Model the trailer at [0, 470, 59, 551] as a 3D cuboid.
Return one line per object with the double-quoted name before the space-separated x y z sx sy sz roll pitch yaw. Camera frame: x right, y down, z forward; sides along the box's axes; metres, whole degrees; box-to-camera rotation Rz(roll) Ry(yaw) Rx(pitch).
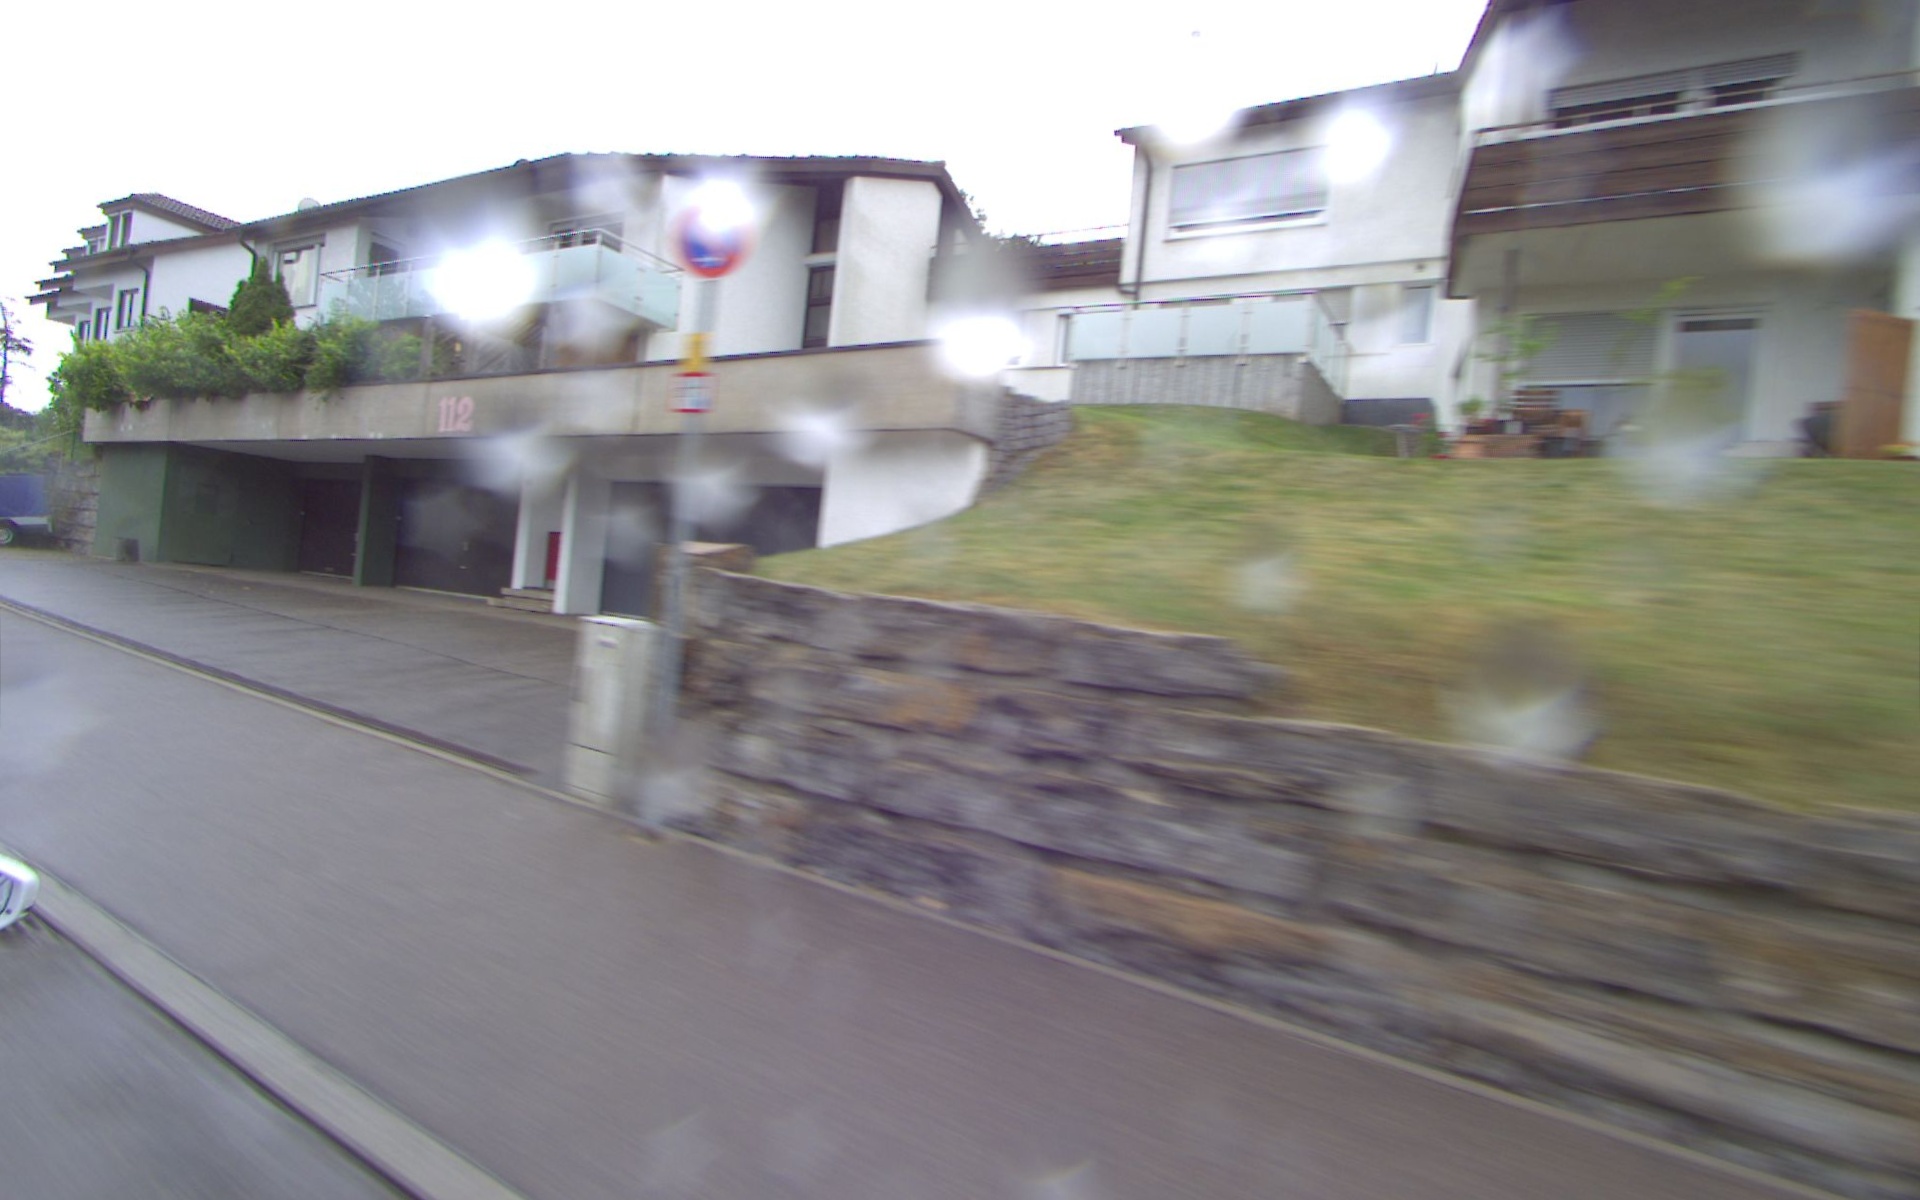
"trailer" -23.326 -2.247 24.023 1.971 1.770 2.351 7 1 39
